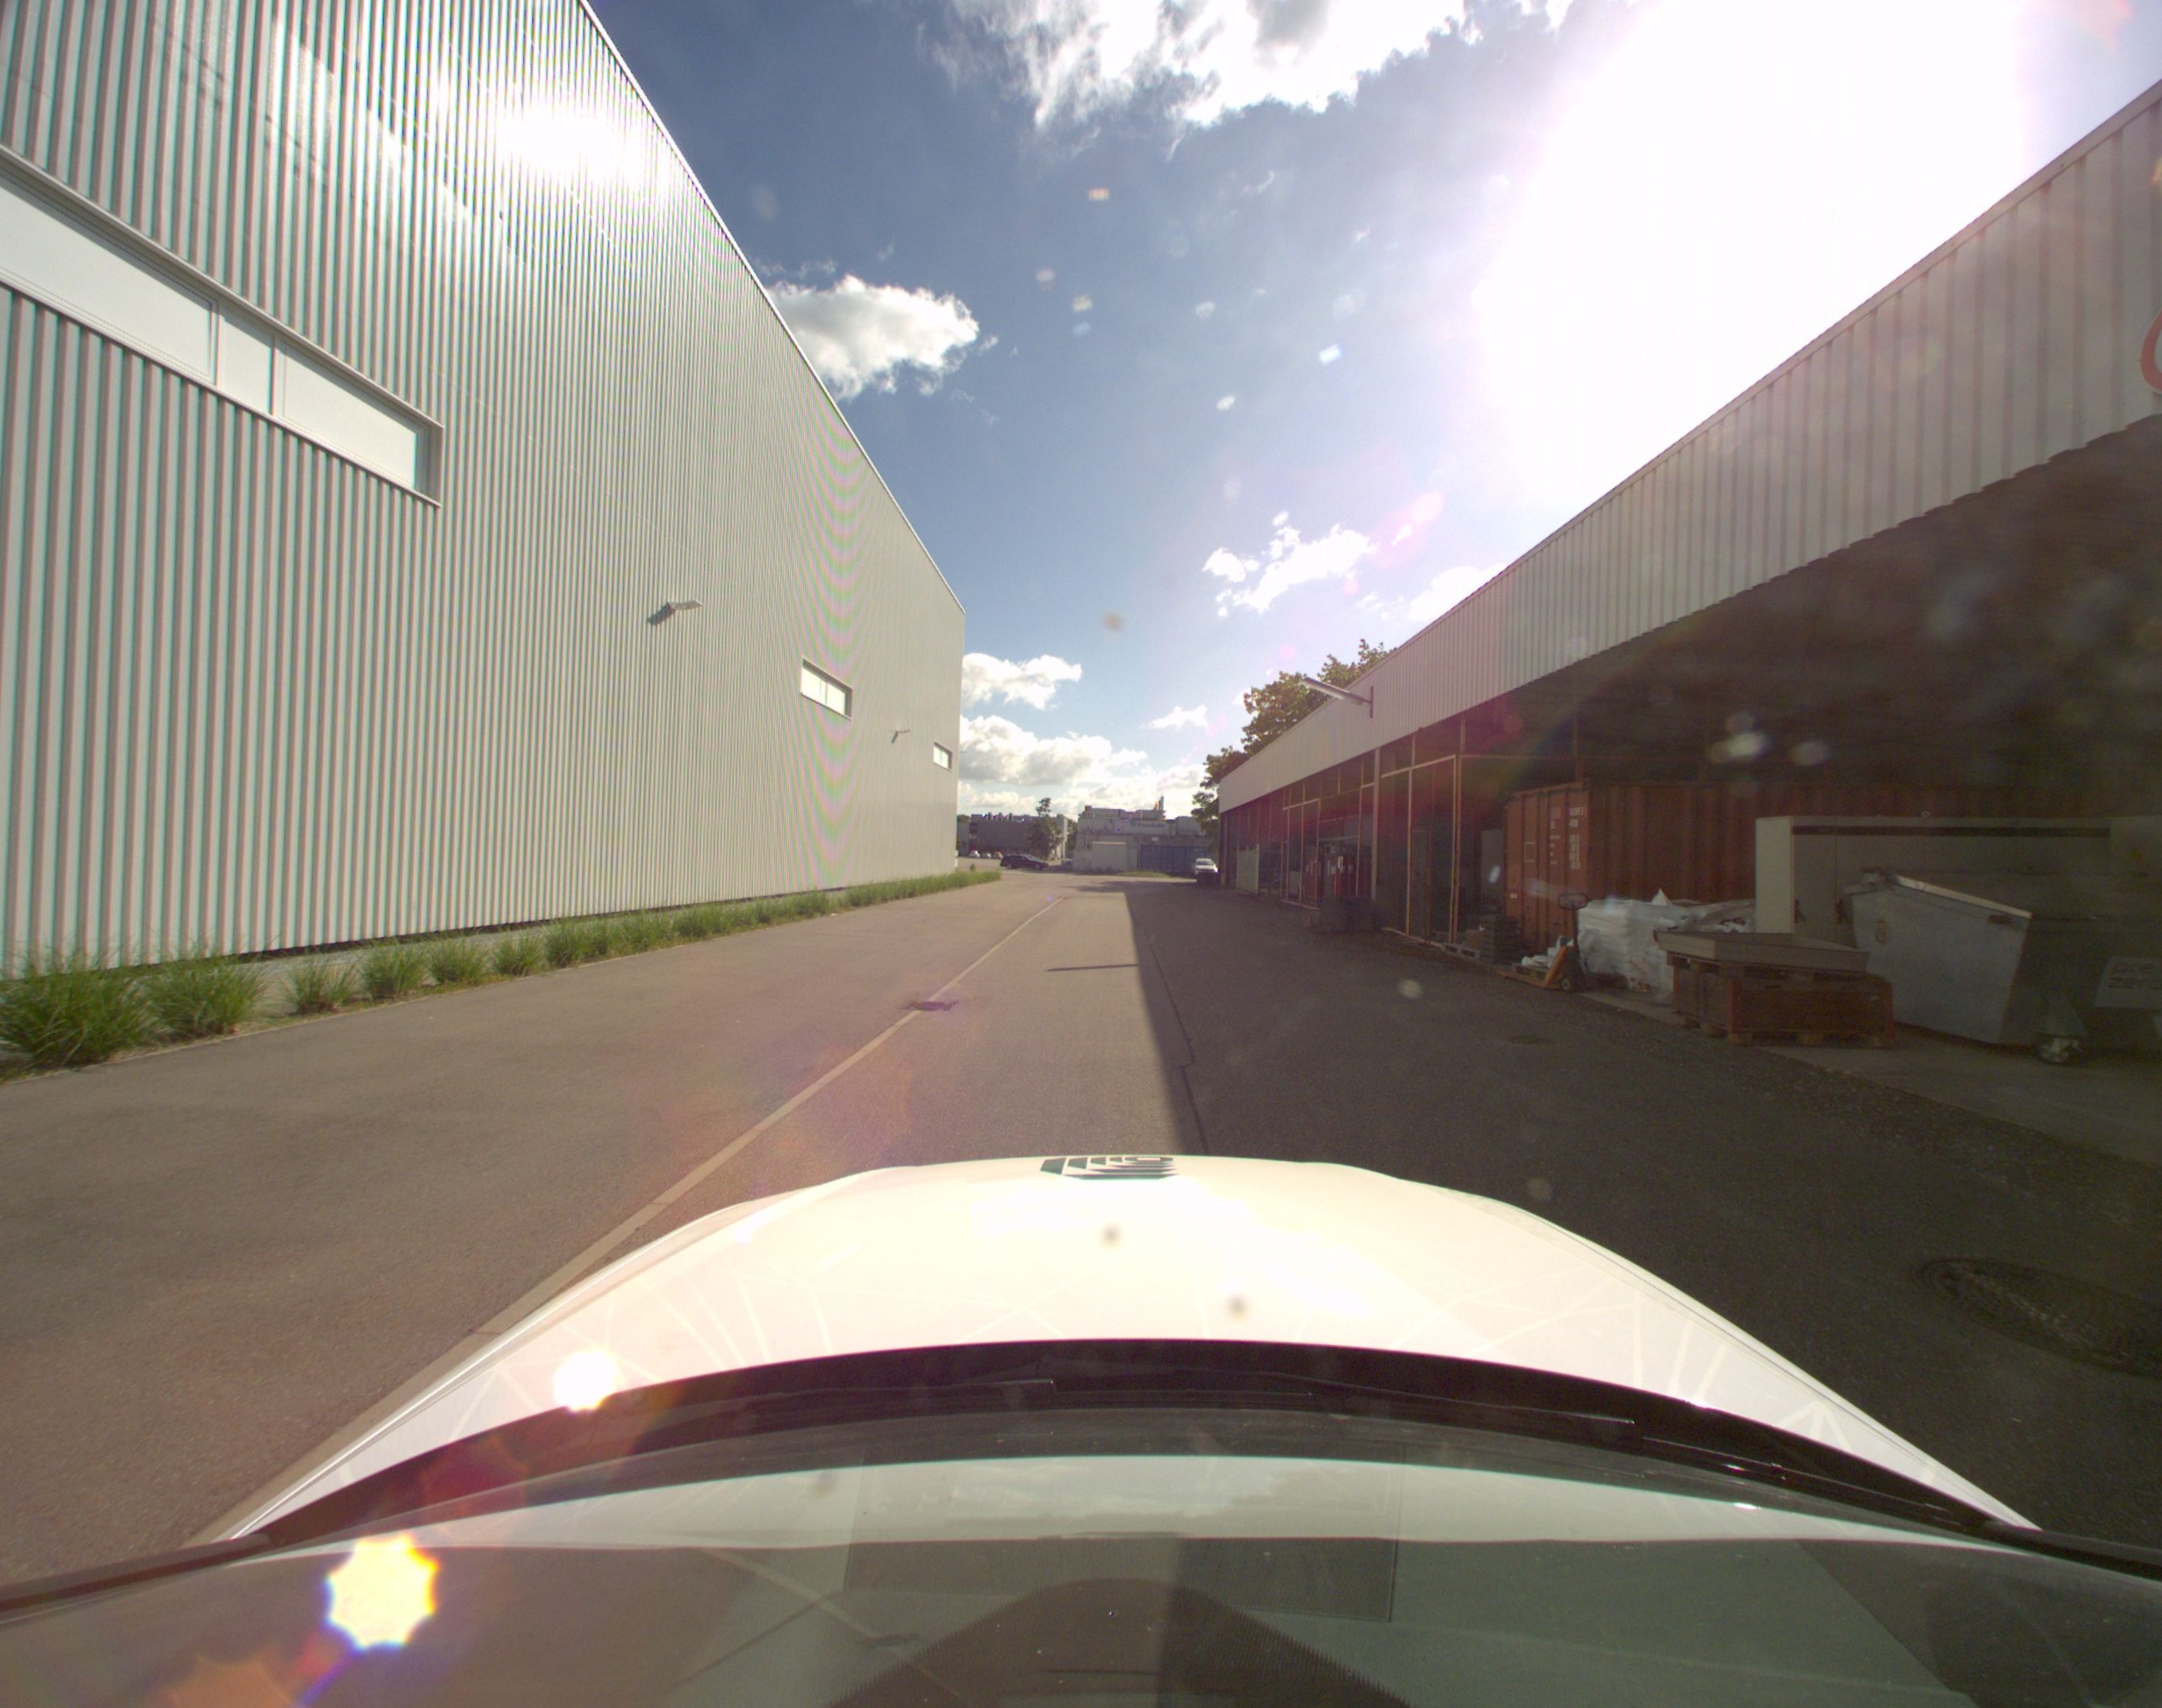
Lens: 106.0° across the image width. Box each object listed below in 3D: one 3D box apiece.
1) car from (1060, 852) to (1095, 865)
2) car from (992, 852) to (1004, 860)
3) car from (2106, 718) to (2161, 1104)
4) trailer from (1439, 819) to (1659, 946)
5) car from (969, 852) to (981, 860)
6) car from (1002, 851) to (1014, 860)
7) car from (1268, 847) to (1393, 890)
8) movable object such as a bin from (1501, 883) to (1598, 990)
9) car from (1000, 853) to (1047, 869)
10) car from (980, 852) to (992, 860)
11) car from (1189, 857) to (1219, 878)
[{"bbox_3d":[-0.445,0.595,108.997,4.507,1.508,1.910,1,0,3],"label":"car"},{"bbox_3d":[-18.278,0.396,179.081,2.185,1.736,4.001,0,-1,2],"label":"car"},{"bbox_3d":[8.967,0.384,4.105,4.959,2.325,2.001,1,0,2],"label":"car"},{"bbox_3d":[8.555,0.475,15.362,1.848,2.058,4.100,1,0,1],"label":"trailer"},{"bbox_3d":[-23.340,0.445,179.227,1.986,1.736,4.001,0,-1,2],"label":"car"},{"bbox_3d":[-15.803,0.340,177.301,2.185,1.736,4.001,0,-1,2],"label":"car"},{"bbox_3d":[11.566,0.668,37.963,5.226,1.876,1.997,1,0,-4],"label":"car"},{"bbox_3d":[5.642,0.955,9.876,0.578,1.164,1.240,0,0,6],"label":"movable object such as a bin"},{"bbox_3d":[-5.738,0.670,81.519,4.506,1.508,1.911,1,0,4],"label":"car"},{"bbox_3d":[-20.868,0.433,178.807,1.986,1.736,4.001,0,-1,2],"label":"car"},{"bbox_3d":[10.302,1.092,68.309,1.986,1.585,4.175,1,1,2],"label":"car"}]
